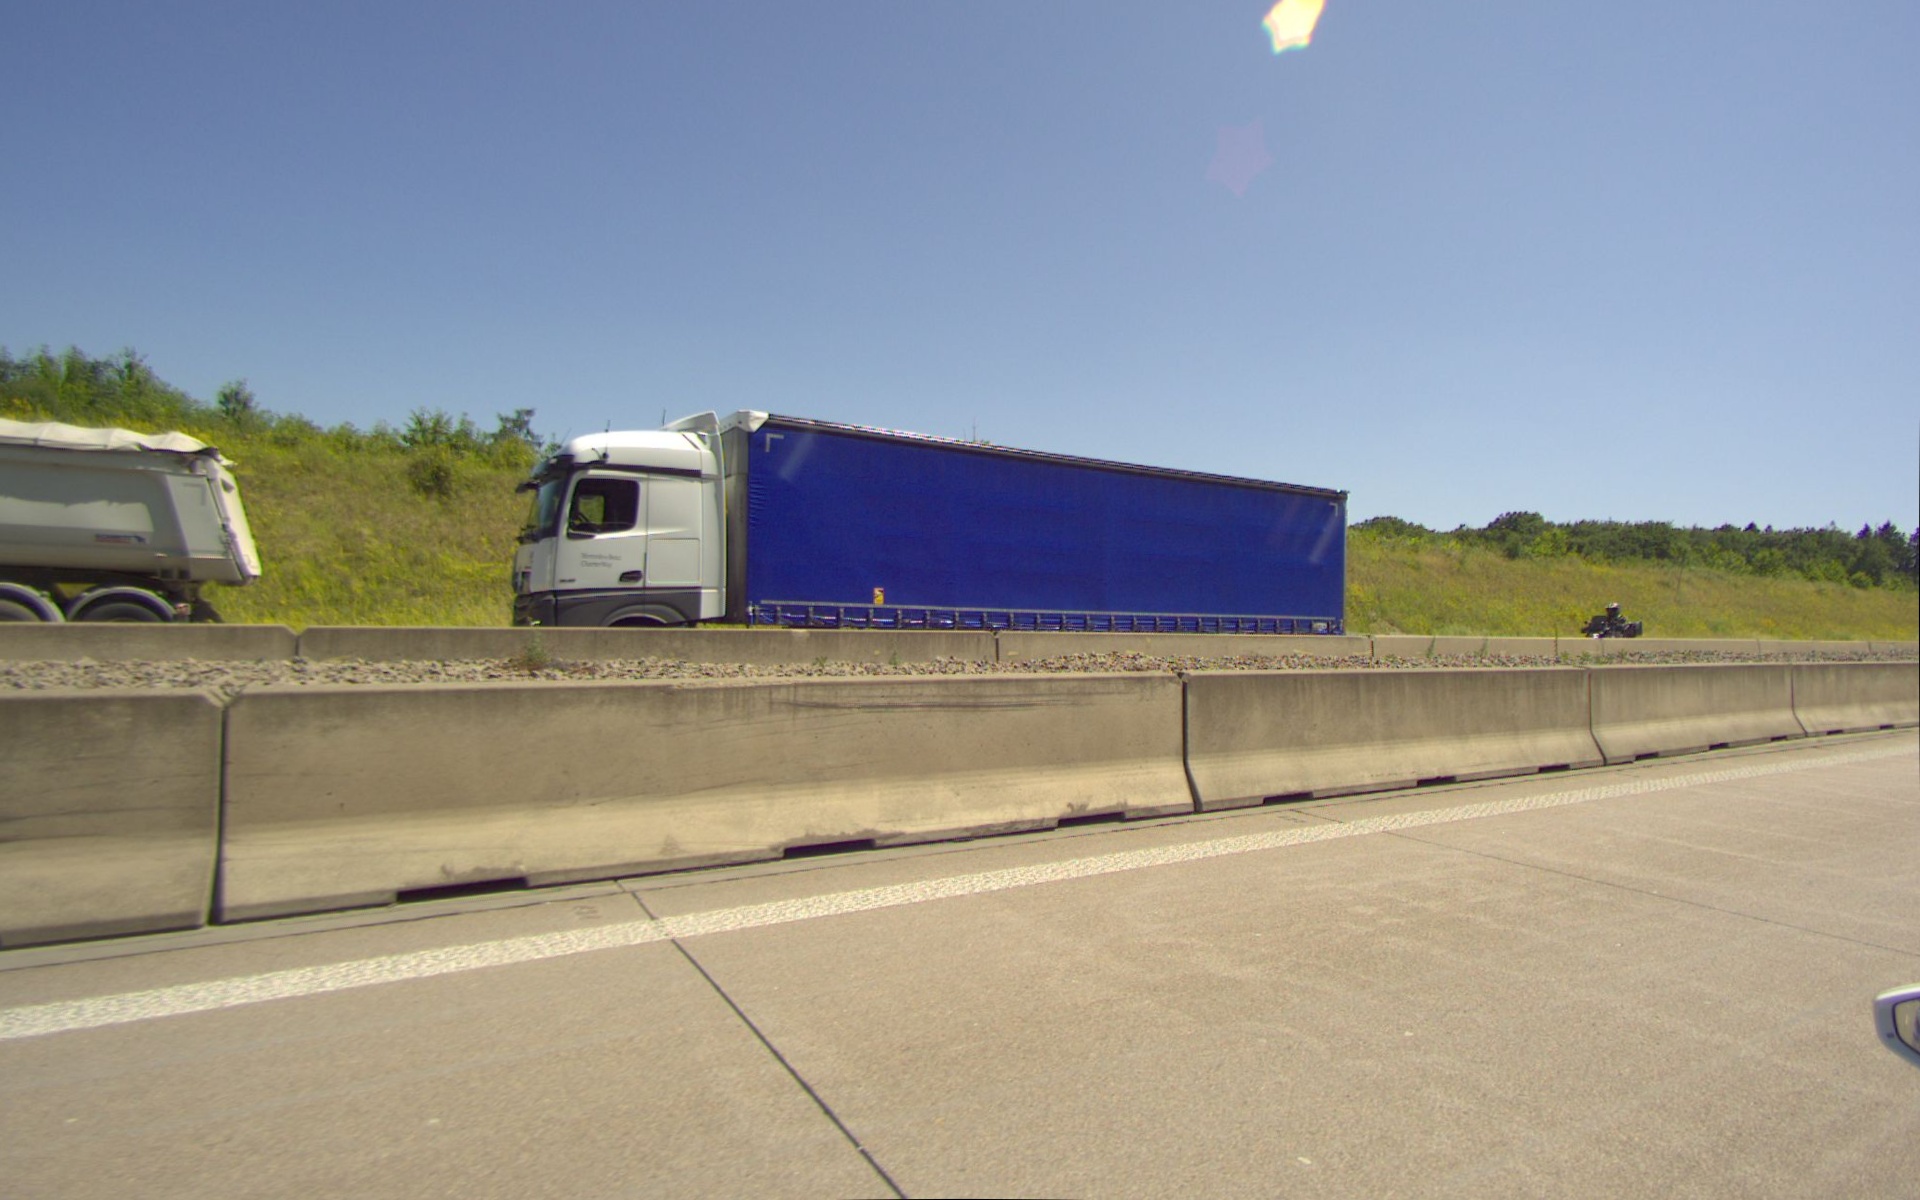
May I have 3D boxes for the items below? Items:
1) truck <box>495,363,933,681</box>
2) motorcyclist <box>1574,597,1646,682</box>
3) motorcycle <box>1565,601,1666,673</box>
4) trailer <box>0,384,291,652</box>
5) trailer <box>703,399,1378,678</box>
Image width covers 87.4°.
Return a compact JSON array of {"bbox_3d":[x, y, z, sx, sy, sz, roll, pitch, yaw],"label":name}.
[{"bbox_3d":[-3.764,-0.943,15.496,5.772,3.985,3.143,2,2,-32],"label":"truck"},{"bbox_3d":[15.072,0.896,23.281,1.475,1.898,0.814,1,0,-31],"label":"motorcyclist"},{"bbox_3d":[15.218,0.849,23.302,2.456,1.570,1.002,2,0,-31],"label":"motorcycle"},{"bbox_3d":[-14.458,-1.177,13.473,8.851,3.459,2.711,2,1,-31],"label":"trailer"},{"bbox_3d":[2.323,-0.719,19.362,13.715,3.985,3.143,2,1,-32],"label":"trailer"}]
